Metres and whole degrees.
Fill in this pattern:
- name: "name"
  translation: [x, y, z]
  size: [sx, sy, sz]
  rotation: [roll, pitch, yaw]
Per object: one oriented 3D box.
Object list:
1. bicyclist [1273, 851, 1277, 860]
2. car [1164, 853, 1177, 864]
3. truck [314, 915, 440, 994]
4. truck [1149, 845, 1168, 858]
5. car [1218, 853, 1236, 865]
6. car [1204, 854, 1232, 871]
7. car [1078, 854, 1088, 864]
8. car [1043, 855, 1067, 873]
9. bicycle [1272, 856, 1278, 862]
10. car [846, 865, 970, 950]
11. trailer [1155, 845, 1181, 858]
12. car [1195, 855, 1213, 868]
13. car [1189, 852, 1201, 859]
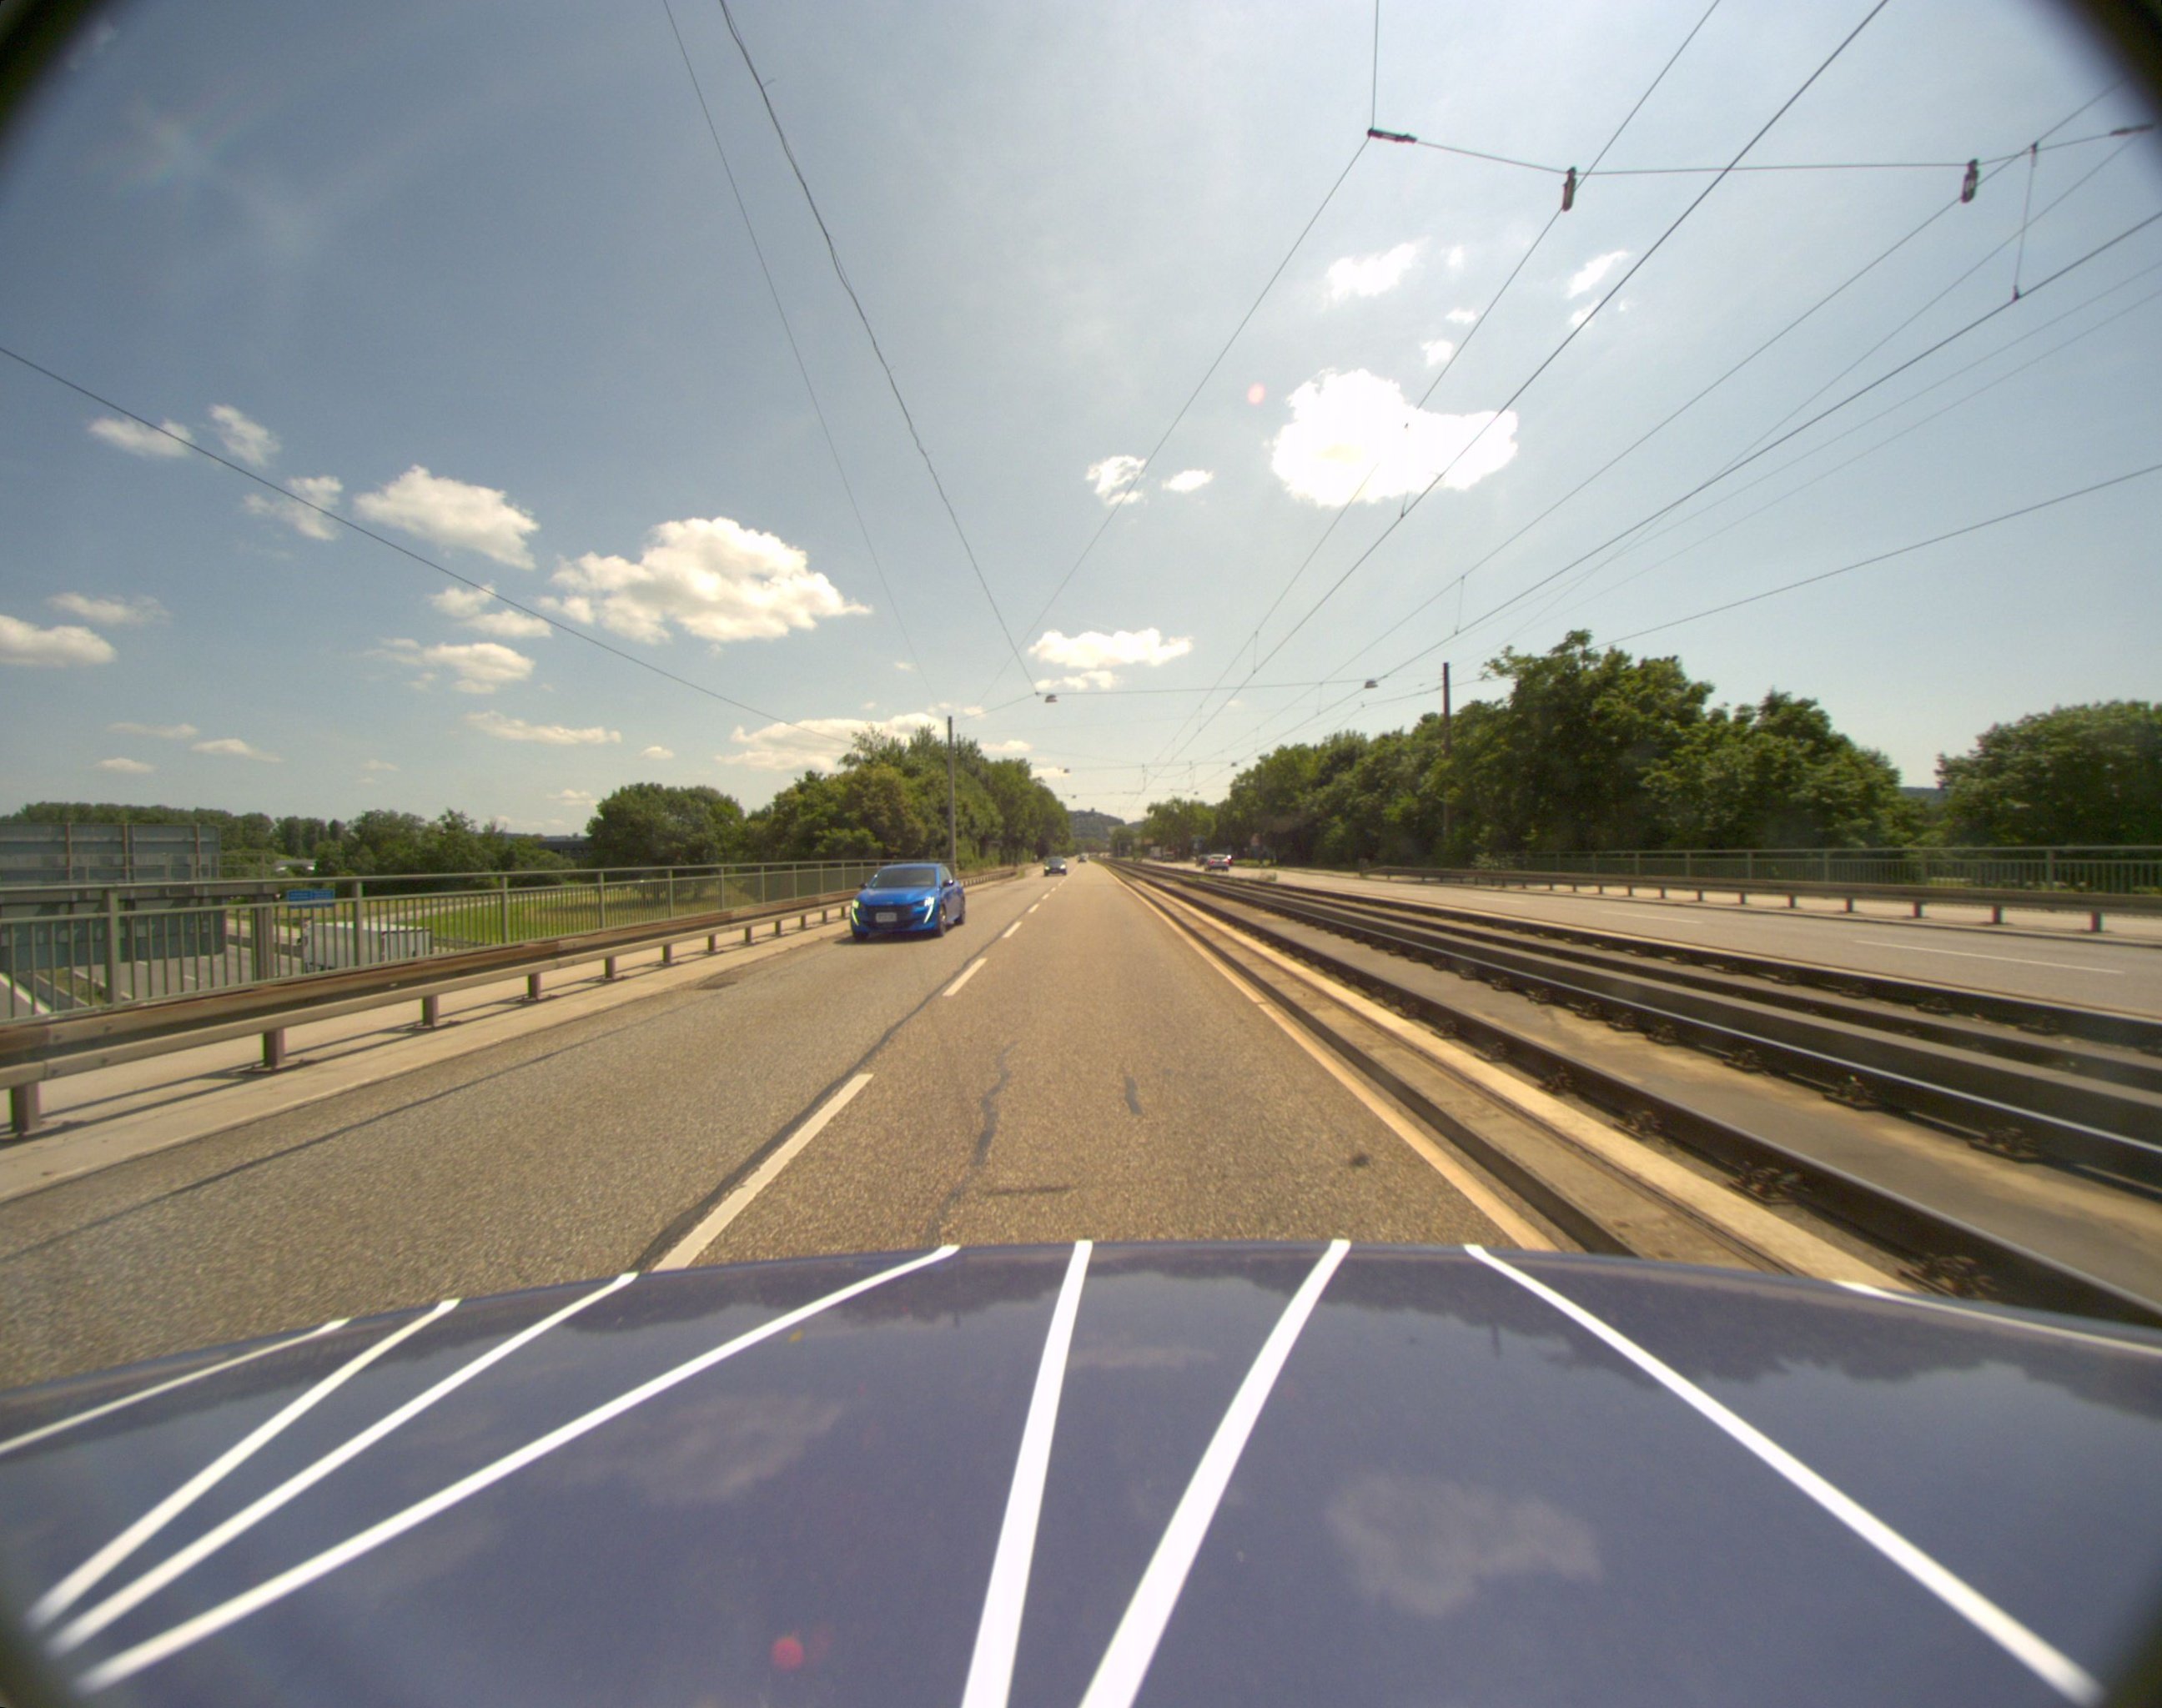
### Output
- name: "bicyclist"
  translation: [28.557, 0.222, 111.855]
  size: [0.570, 1.360, 0.631]
  rotation: [-2, 2, 6]
- name: "car"
  translation: [16.190, 0.840, 137.588]
  size: [1.816, 1.914, 5.178]
  rotation: [0, 1, 1]
- name: "truck"
  translation: [-49.909, 6.822, 53.614]
  size: [14.746, 4.196, 2.836]
  rotation: [0, 3, 33]
- name: "truck"
  translation: [22.992, -0.809, 227.151]
  size: [3.420, 3.680, 6.750]
  rotation: [-1, 0, -15]
- name: "car"
  translation: [18.512, 0.619, 96.458]
  size: [1.567, 1.339, 3.928]
  rotation: [0, 1, 1]
- name: "car"
  translation: [12.107, 0.722, 67.521]
  size: [1.715, 1.412, 4.624]
  rotation: [0, 1, 1]
- name: "car"
  translation: [0.409, 0.959, 157.024]
  size: [1.998, 2.002, 3.999]
  rotation: [-2, 1, 0]
- name: "car"
  translation: [-2.081, 0.792, 62.623]
  size: [1.769, 1.359, 3.743]
  rotation: [-2, 1, 0]
- name: "bicycle"
  translation: [28.575, 0.730, 111.939]
  size: [0.587, 0.814, 2.069]
  rotation: [-3, 1, 6]
- name: "car"
  translation: [-3.446, 1.009, 15.794]
  size: [1.660, 1.397, 3.743]
  rotation: [-2, 1, 0]
- name: "trailer"
  translation: [25.028, -0.819, 219.599]
  size: [3.390, 3.633, 12.092]
  rotation: [-1, 0, -15]
- name: "car"
  translation: [14.893, 0.896, 92.333]
  size: [1.578, 1.392, 3.937]
  rotation: [-1, 1, 1]
- name: "car"
  translation: [30.242, 0.436, 201.664]
  size: [1.567, 1.781, 3.392]
  rotation: [-1, 0, -25]
